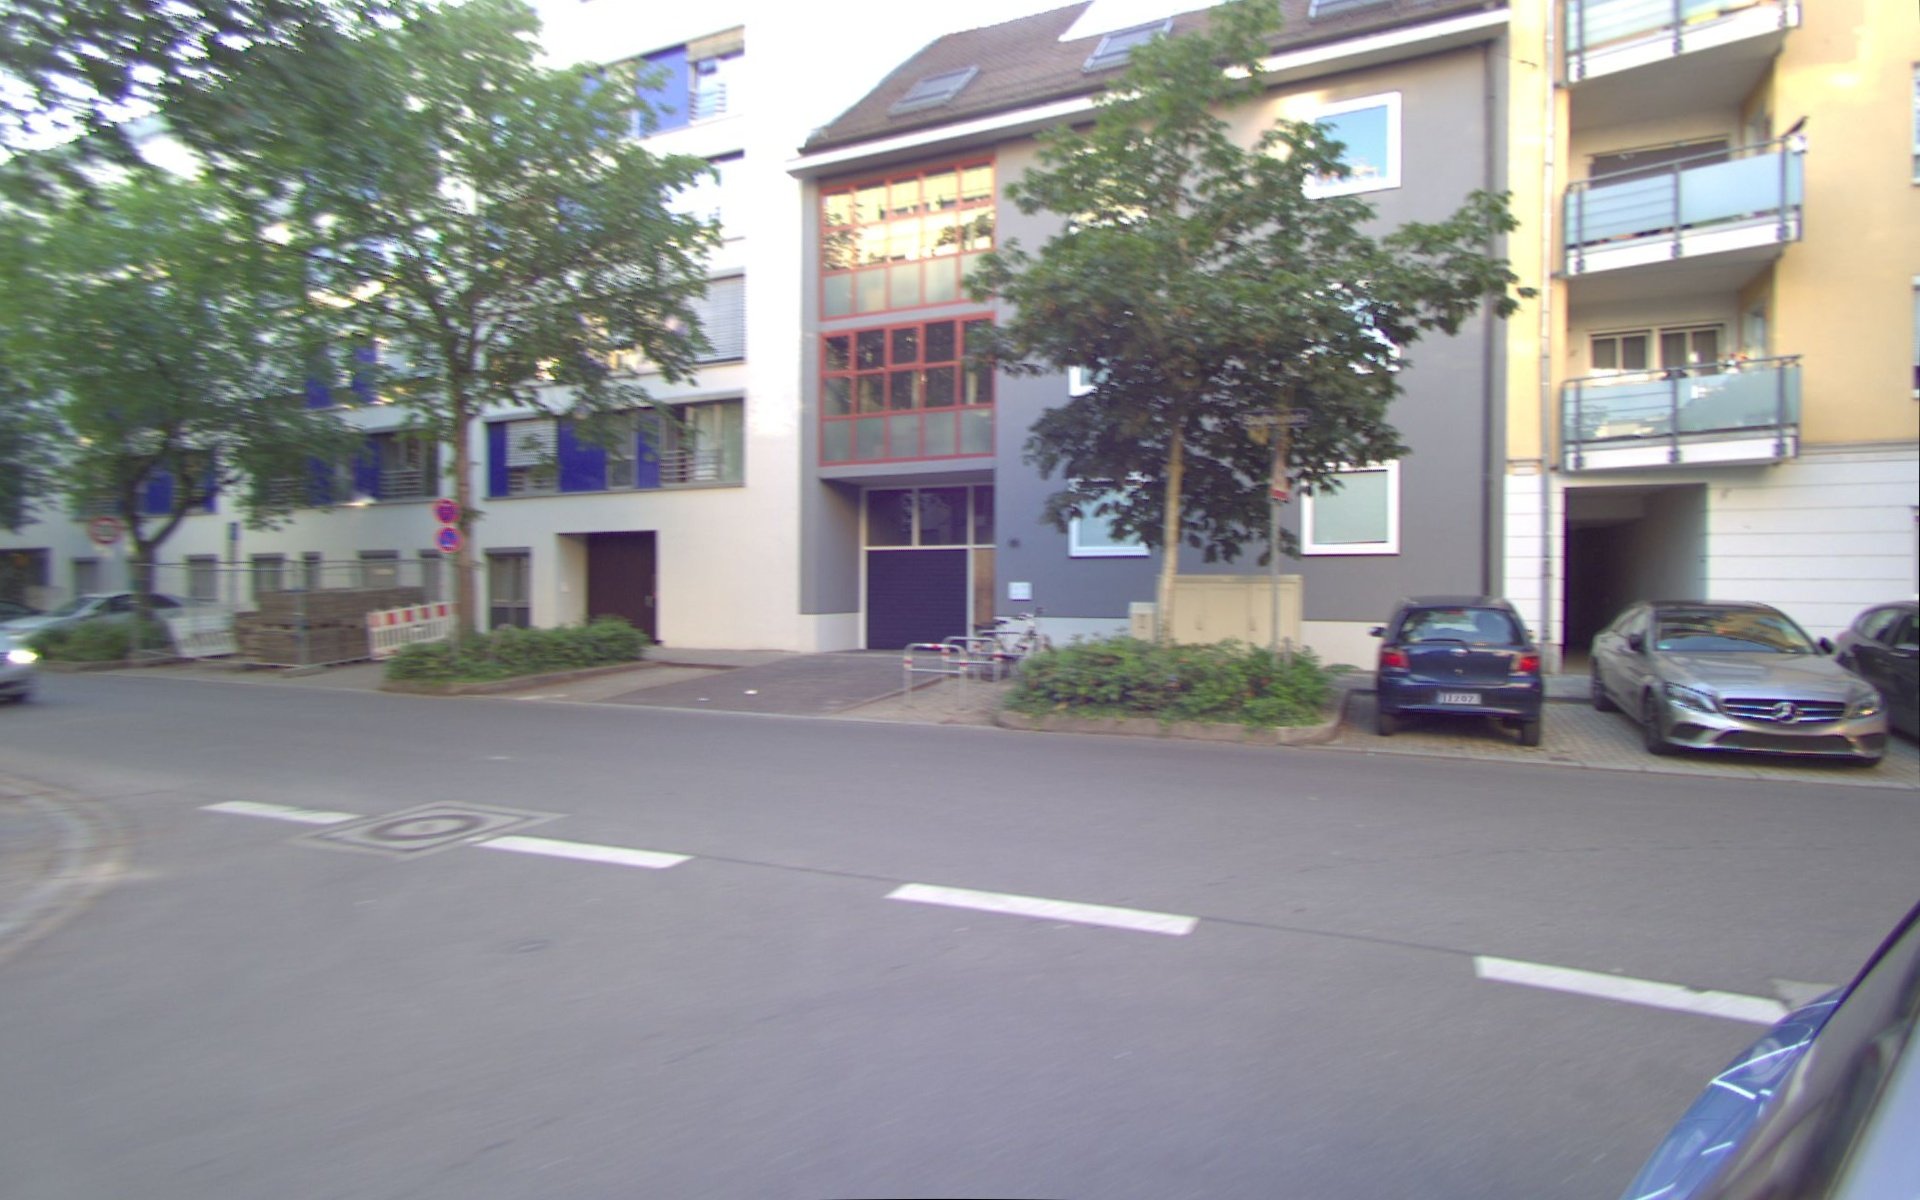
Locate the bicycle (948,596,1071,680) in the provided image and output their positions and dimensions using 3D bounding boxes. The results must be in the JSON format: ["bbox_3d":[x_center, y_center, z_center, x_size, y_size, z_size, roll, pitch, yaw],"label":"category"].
[{"bbox_3d":[0.787,0.573,16.071,1.787,1.250,0.822,0,1,29],"label":"bicycle"}]

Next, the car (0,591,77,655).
[{"bbox_3d":[-25.244,0.575,25.582,1.979,1.605,3.965,0,0,26],"label":"car"}]

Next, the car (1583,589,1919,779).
[{"bbox_3d":[8.266,0.691,10.892,1.989,1.591,4.600,0,0,23],"label":"car"}]

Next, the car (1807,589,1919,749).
[{"bbox_3d":[10.508,0.666,10.107,1.970,1.540,4.756,0,0,25],"label":"car"}]

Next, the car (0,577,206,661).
[{"bbox_3d":[-20.857,0.391,24.311,1.981,1.827,3.962,0,0,28],"label":"car"}]

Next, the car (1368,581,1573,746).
[{"bbox_3d":[5.751,0.596,11.710,1.812,1.583,3.522,0,0,24],"label":"car"}]

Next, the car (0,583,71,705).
[{"bbox_3d":[-14.853,0.580,14.322,4.077,1.633,1.999,1,1,26],"label":"car"}]
